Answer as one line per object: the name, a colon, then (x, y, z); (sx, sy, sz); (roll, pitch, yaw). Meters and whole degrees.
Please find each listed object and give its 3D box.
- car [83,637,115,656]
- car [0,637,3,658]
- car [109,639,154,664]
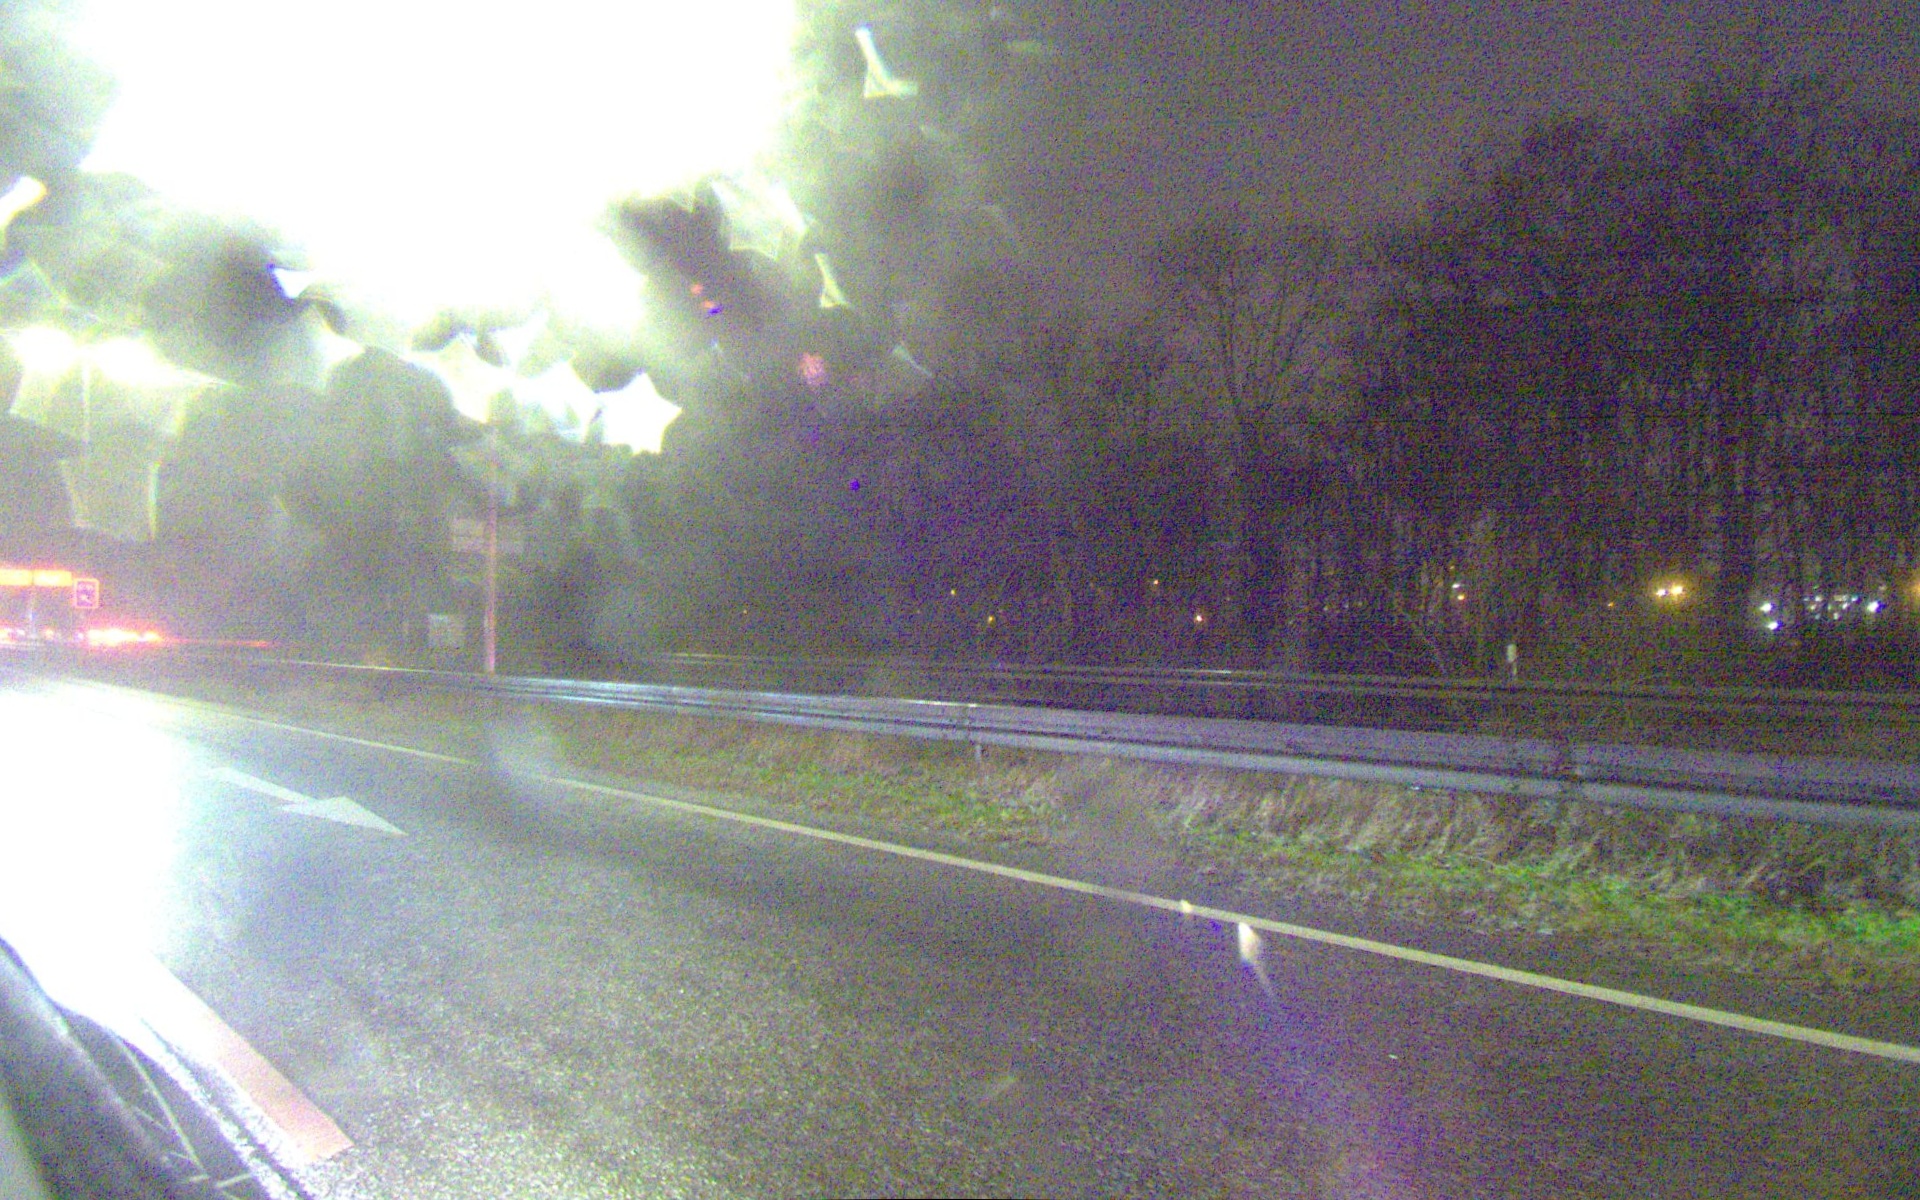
car: (-82.659, 4.458, 97.124); (3.999, 1.660, 1.793); (-2, -1, 42)
car: (-79.129, 3.850, 82.104); (3.997, 1.660, 1.765); (-2, -1, 40)
car: (-57.500, 3.543, 70.211); (3.998, 1.660, 1.842); (-2, -1, 41)
